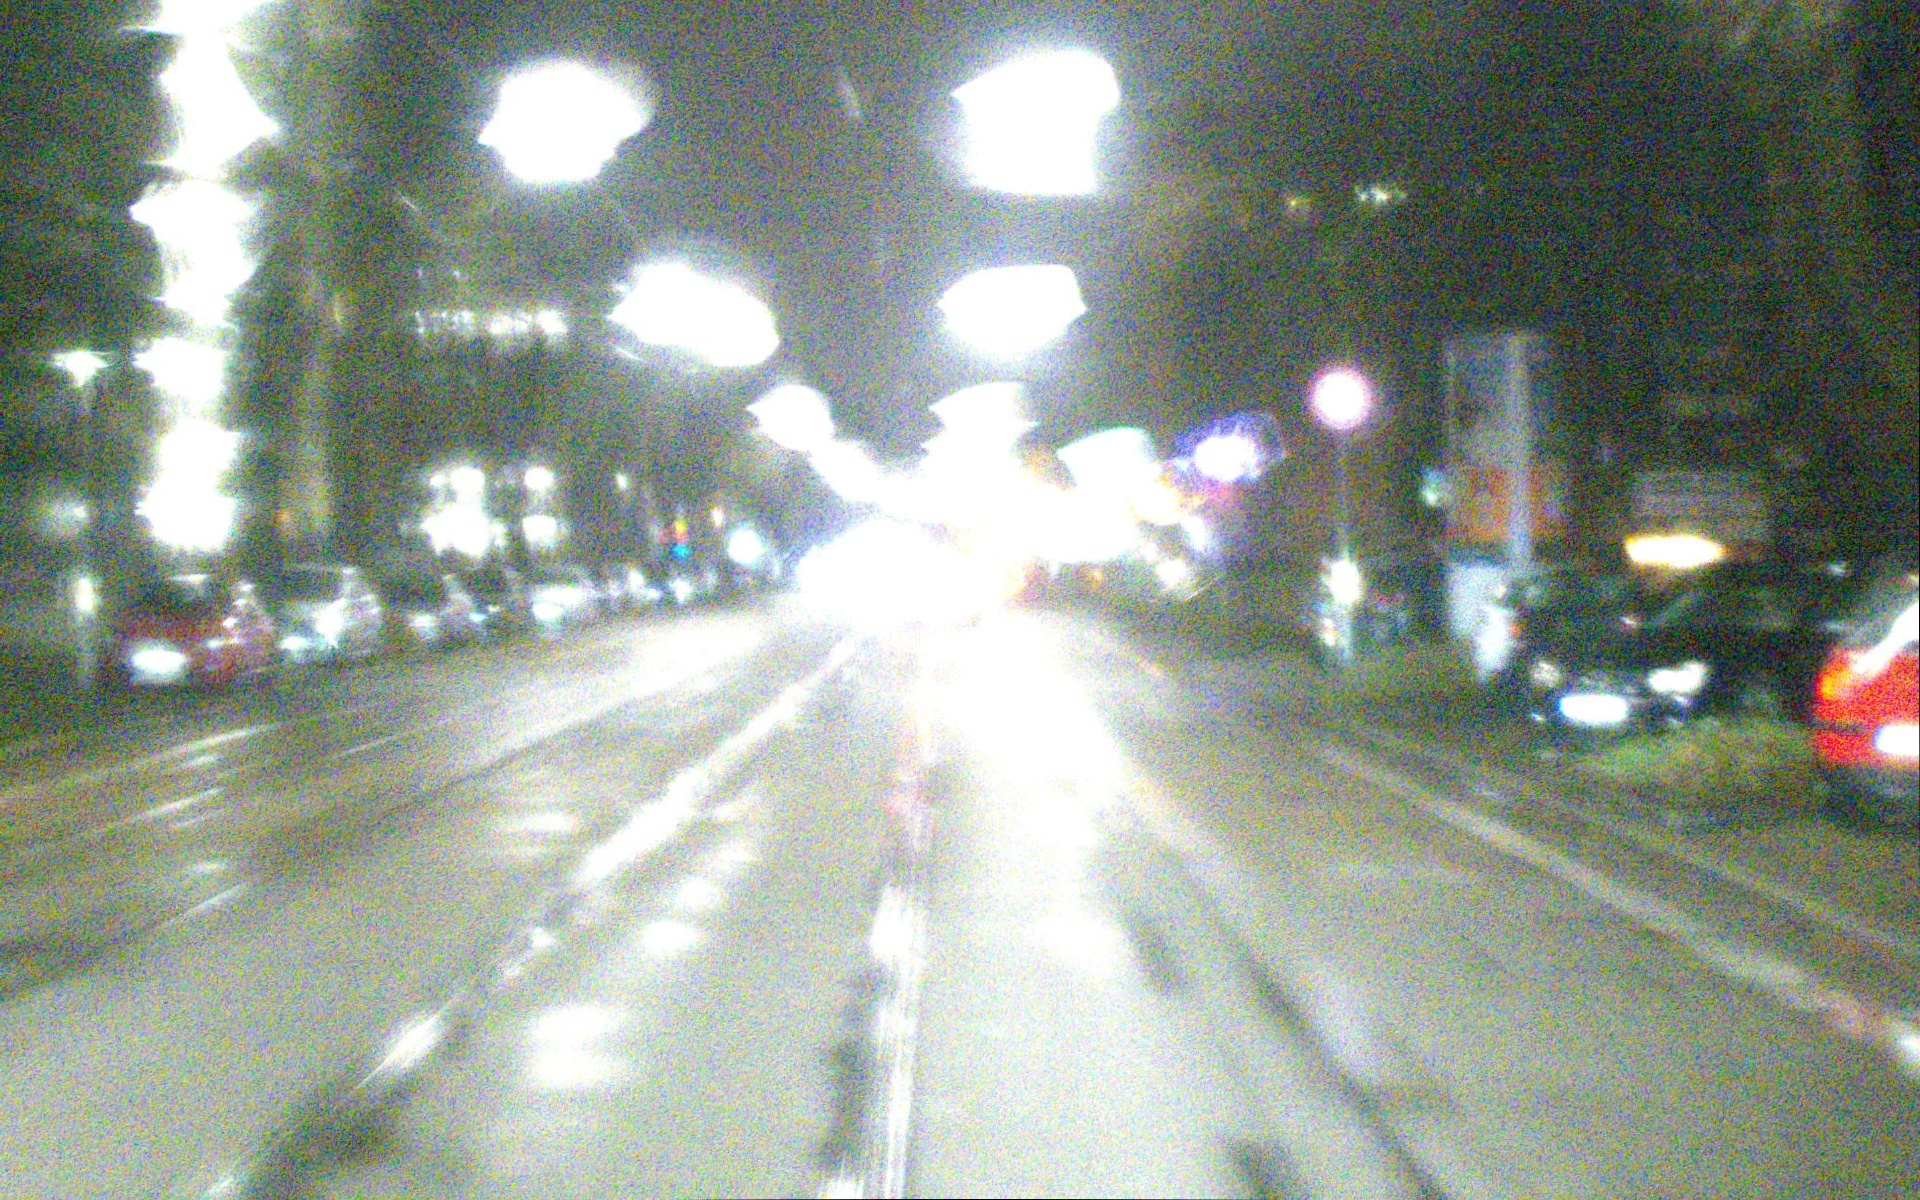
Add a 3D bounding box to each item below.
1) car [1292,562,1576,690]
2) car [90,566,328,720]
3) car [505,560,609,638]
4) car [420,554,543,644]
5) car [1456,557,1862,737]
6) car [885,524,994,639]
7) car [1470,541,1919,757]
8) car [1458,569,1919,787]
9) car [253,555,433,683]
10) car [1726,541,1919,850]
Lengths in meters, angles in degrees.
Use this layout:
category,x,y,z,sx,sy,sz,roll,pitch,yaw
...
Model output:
category,x,y,z,sx,sy,sz,roll,pitch,yaw
car,6.272,0.346,45.221,1.909,1.567,3.953,2,1,39
car,-9.472,0.522,43.761,2.108,1.758,4.966,2,0,-3
car,-9.746,-0.013,83.364,2.022,1.755,4.000,2,0,-1
car,-10.012,-0.020,72.204,2.022,1.755,4.000,2,0,-1
car,6.713,0.444,32.798,1.909,1.567,3.952,2,1,44
car,-0.492,-0.427,76.580,2.216,2.433,5.385,1,1,-2
car,6.505,0.413,29.637,2.029,1.692,4.237,2,1,44
car,5.836,0.568,25.749,4.237,1.449,1.950,1,1,-44
car,-9.324,0.283,52.246,1.999,1.779,4.000,2,0,-1
car,6.282,0.542,19.697,2.054,1.618,3.819,2,1,42
